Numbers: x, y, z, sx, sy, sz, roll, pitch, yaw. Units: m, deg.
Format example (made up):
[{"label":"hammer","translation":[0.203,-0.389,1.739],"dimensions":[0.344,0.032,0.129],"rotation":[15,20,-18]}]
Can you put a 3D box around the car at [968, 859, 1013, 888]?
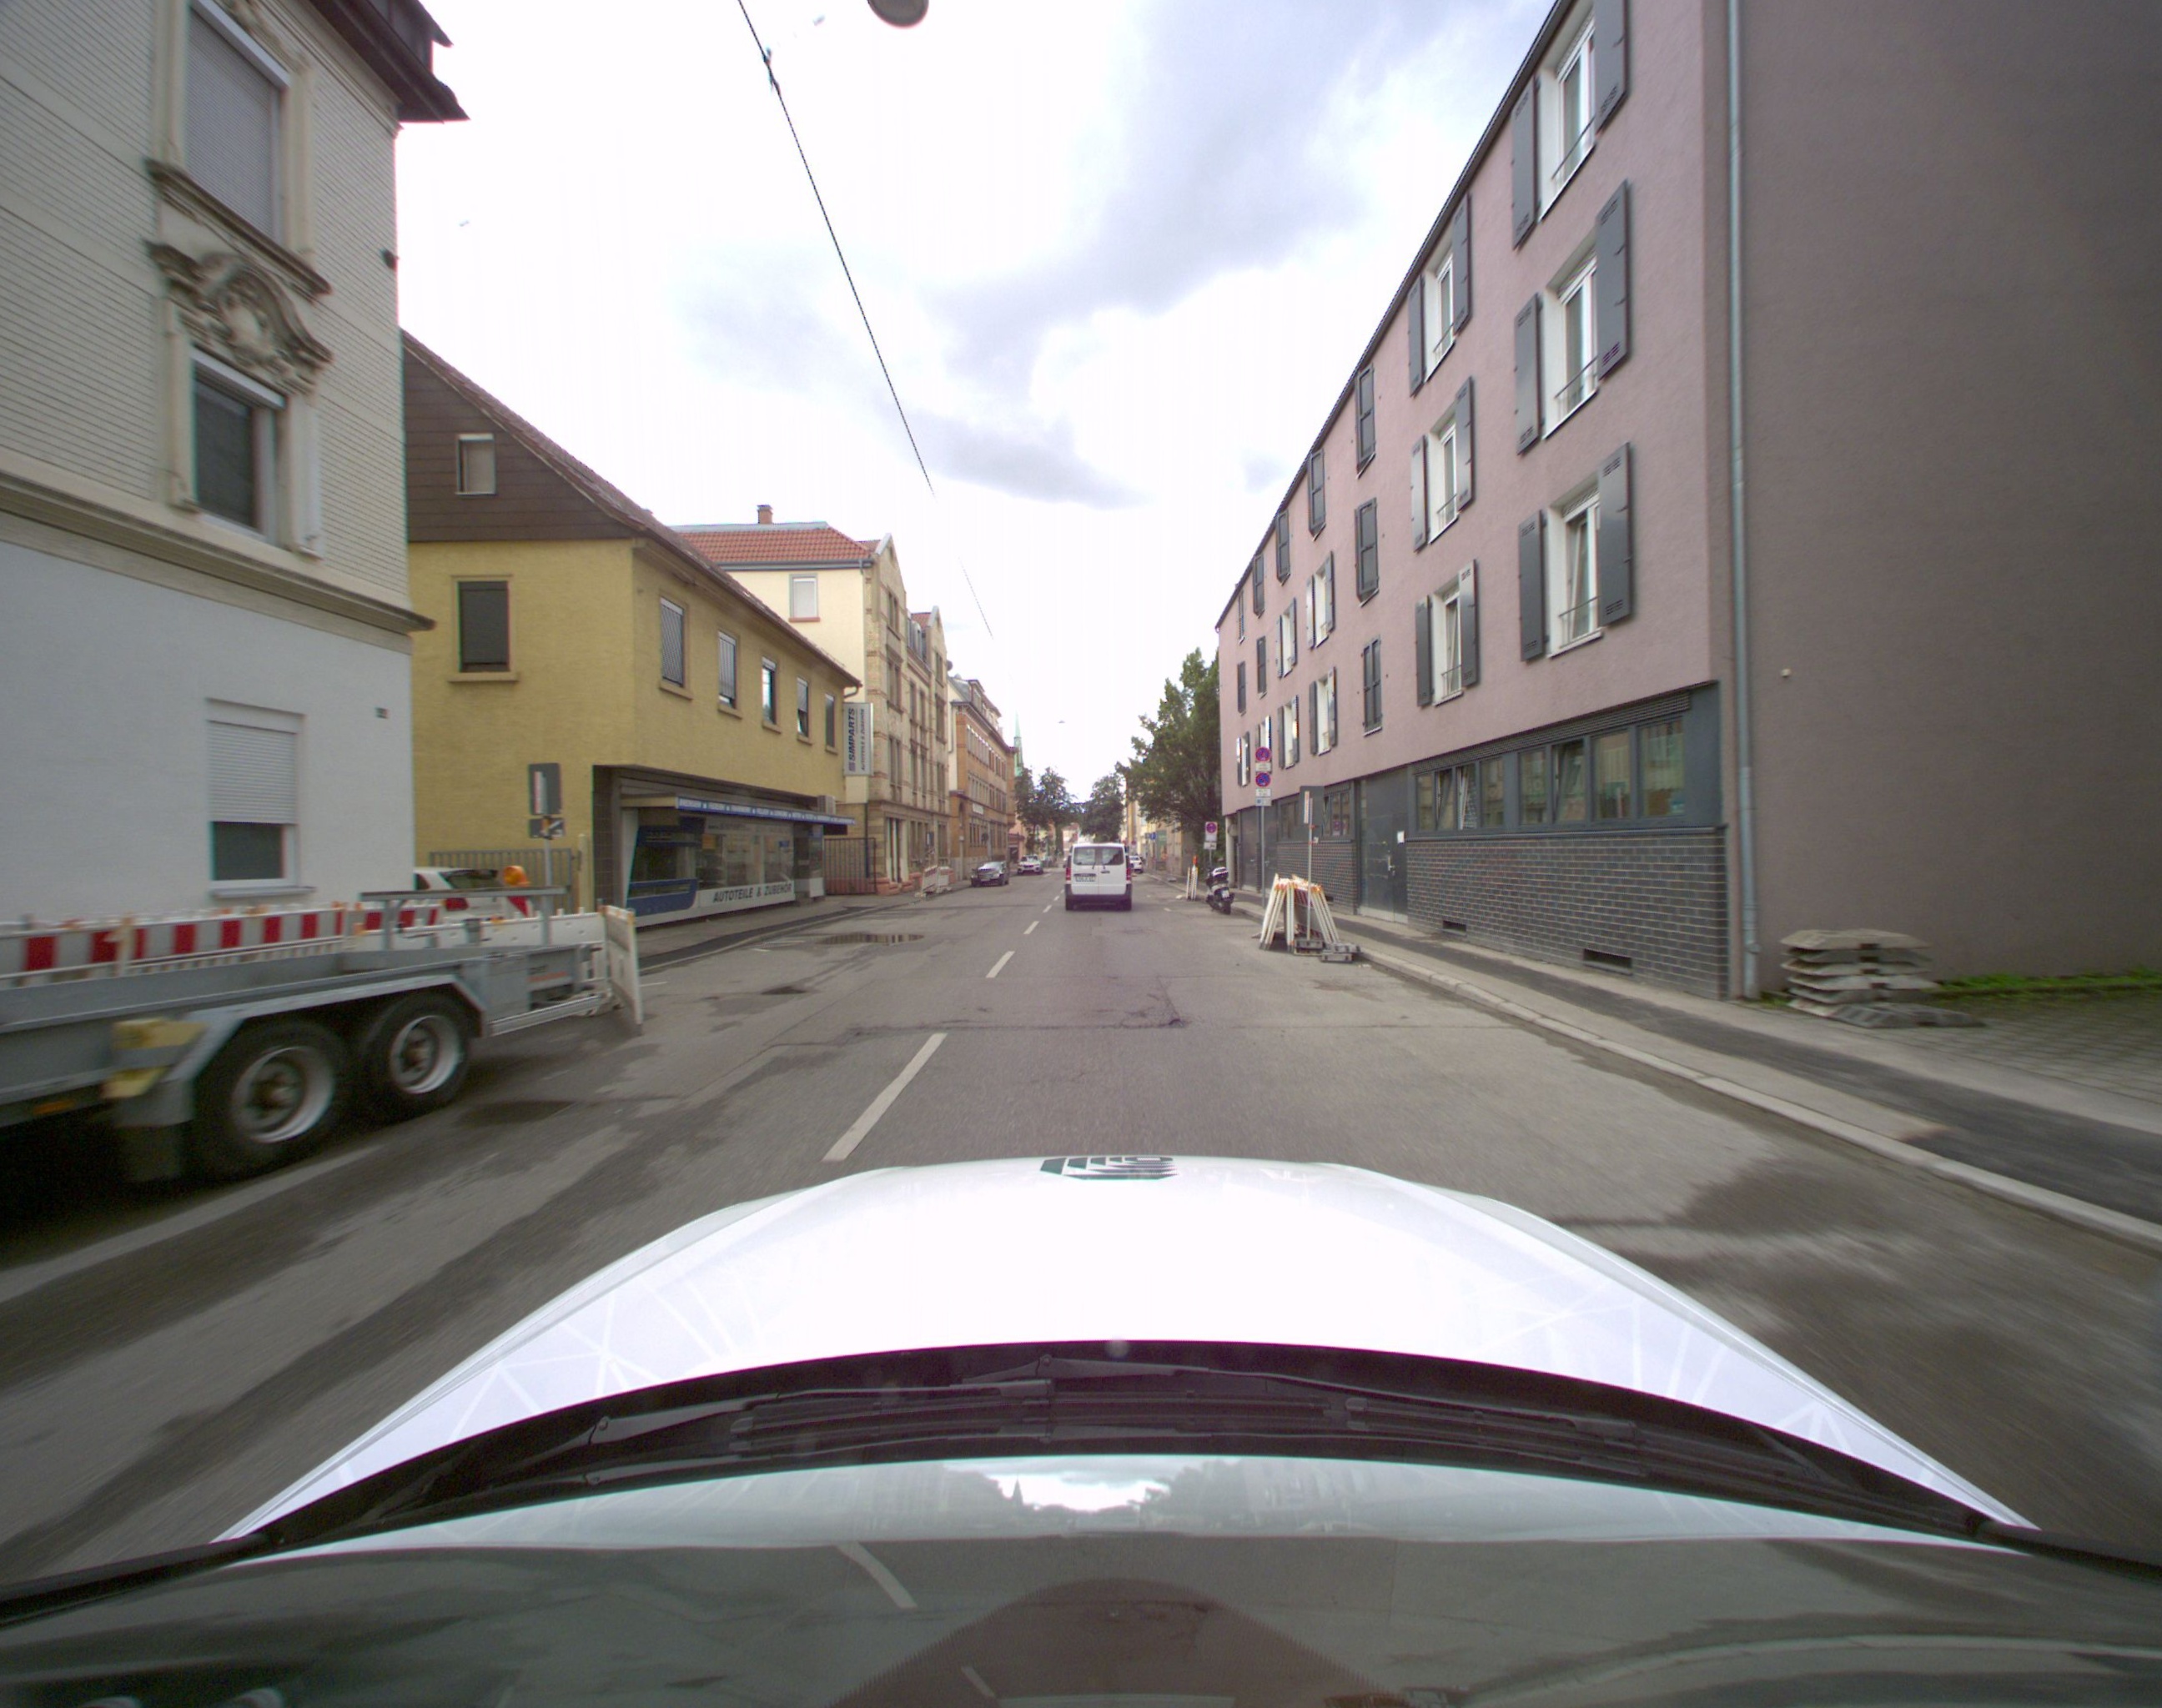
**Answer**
[{"label":"car","translation":[-4.976,1.040,45.320],"dimensions":[1.987,1.442,4.000],"rotation":[-2,0,0]}]

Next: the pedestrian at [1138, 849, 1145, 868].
[{"label":"pedestrian","translation":[6.316,0.482,84.858],"dimensions":[0.620,2.013,0.909],"rotation":[2,0,7]}]

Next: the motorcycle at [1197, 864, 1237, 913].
[{"label":"motorcycle","translation":[3.675,0.903,22.101],"dimensions":[0.642,1.246,2.266],"rotation":[-1,0,-1]}]

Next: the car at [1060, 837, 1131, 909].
[{"label":"car","translation":[0.435,0.524,24.194],"dimensions":[1.885,1.929,4.646],"rotation":[-1,0,1]}]

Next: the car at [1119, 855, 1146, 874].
[{"label":"car","translation":[4.410,0.907,70.138],"dimensions":[1.987,1.485,4.000],"rotation":[2,0,0]}]

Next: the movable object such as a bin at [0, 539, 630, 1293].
[{"label":"movable object such as a bin","translation":[-5.309,0.273,4.886],"dimensions":[2.529,2.825,4.538],"rotation":[-3,0,0]}]

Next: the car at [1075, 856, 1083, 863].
[{"label":"car","translation":[-0.456,1.369,196.030],"dimensions":[1.747,1.673,3.670],"rotation":[-1,0,2]}]

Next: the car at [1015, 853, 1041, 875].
[{"label":"car","translation":[-4.524,0.838,70.007],"dimensions":[1.987,1.741,3.999],"rotation":[2,0,0]}]
